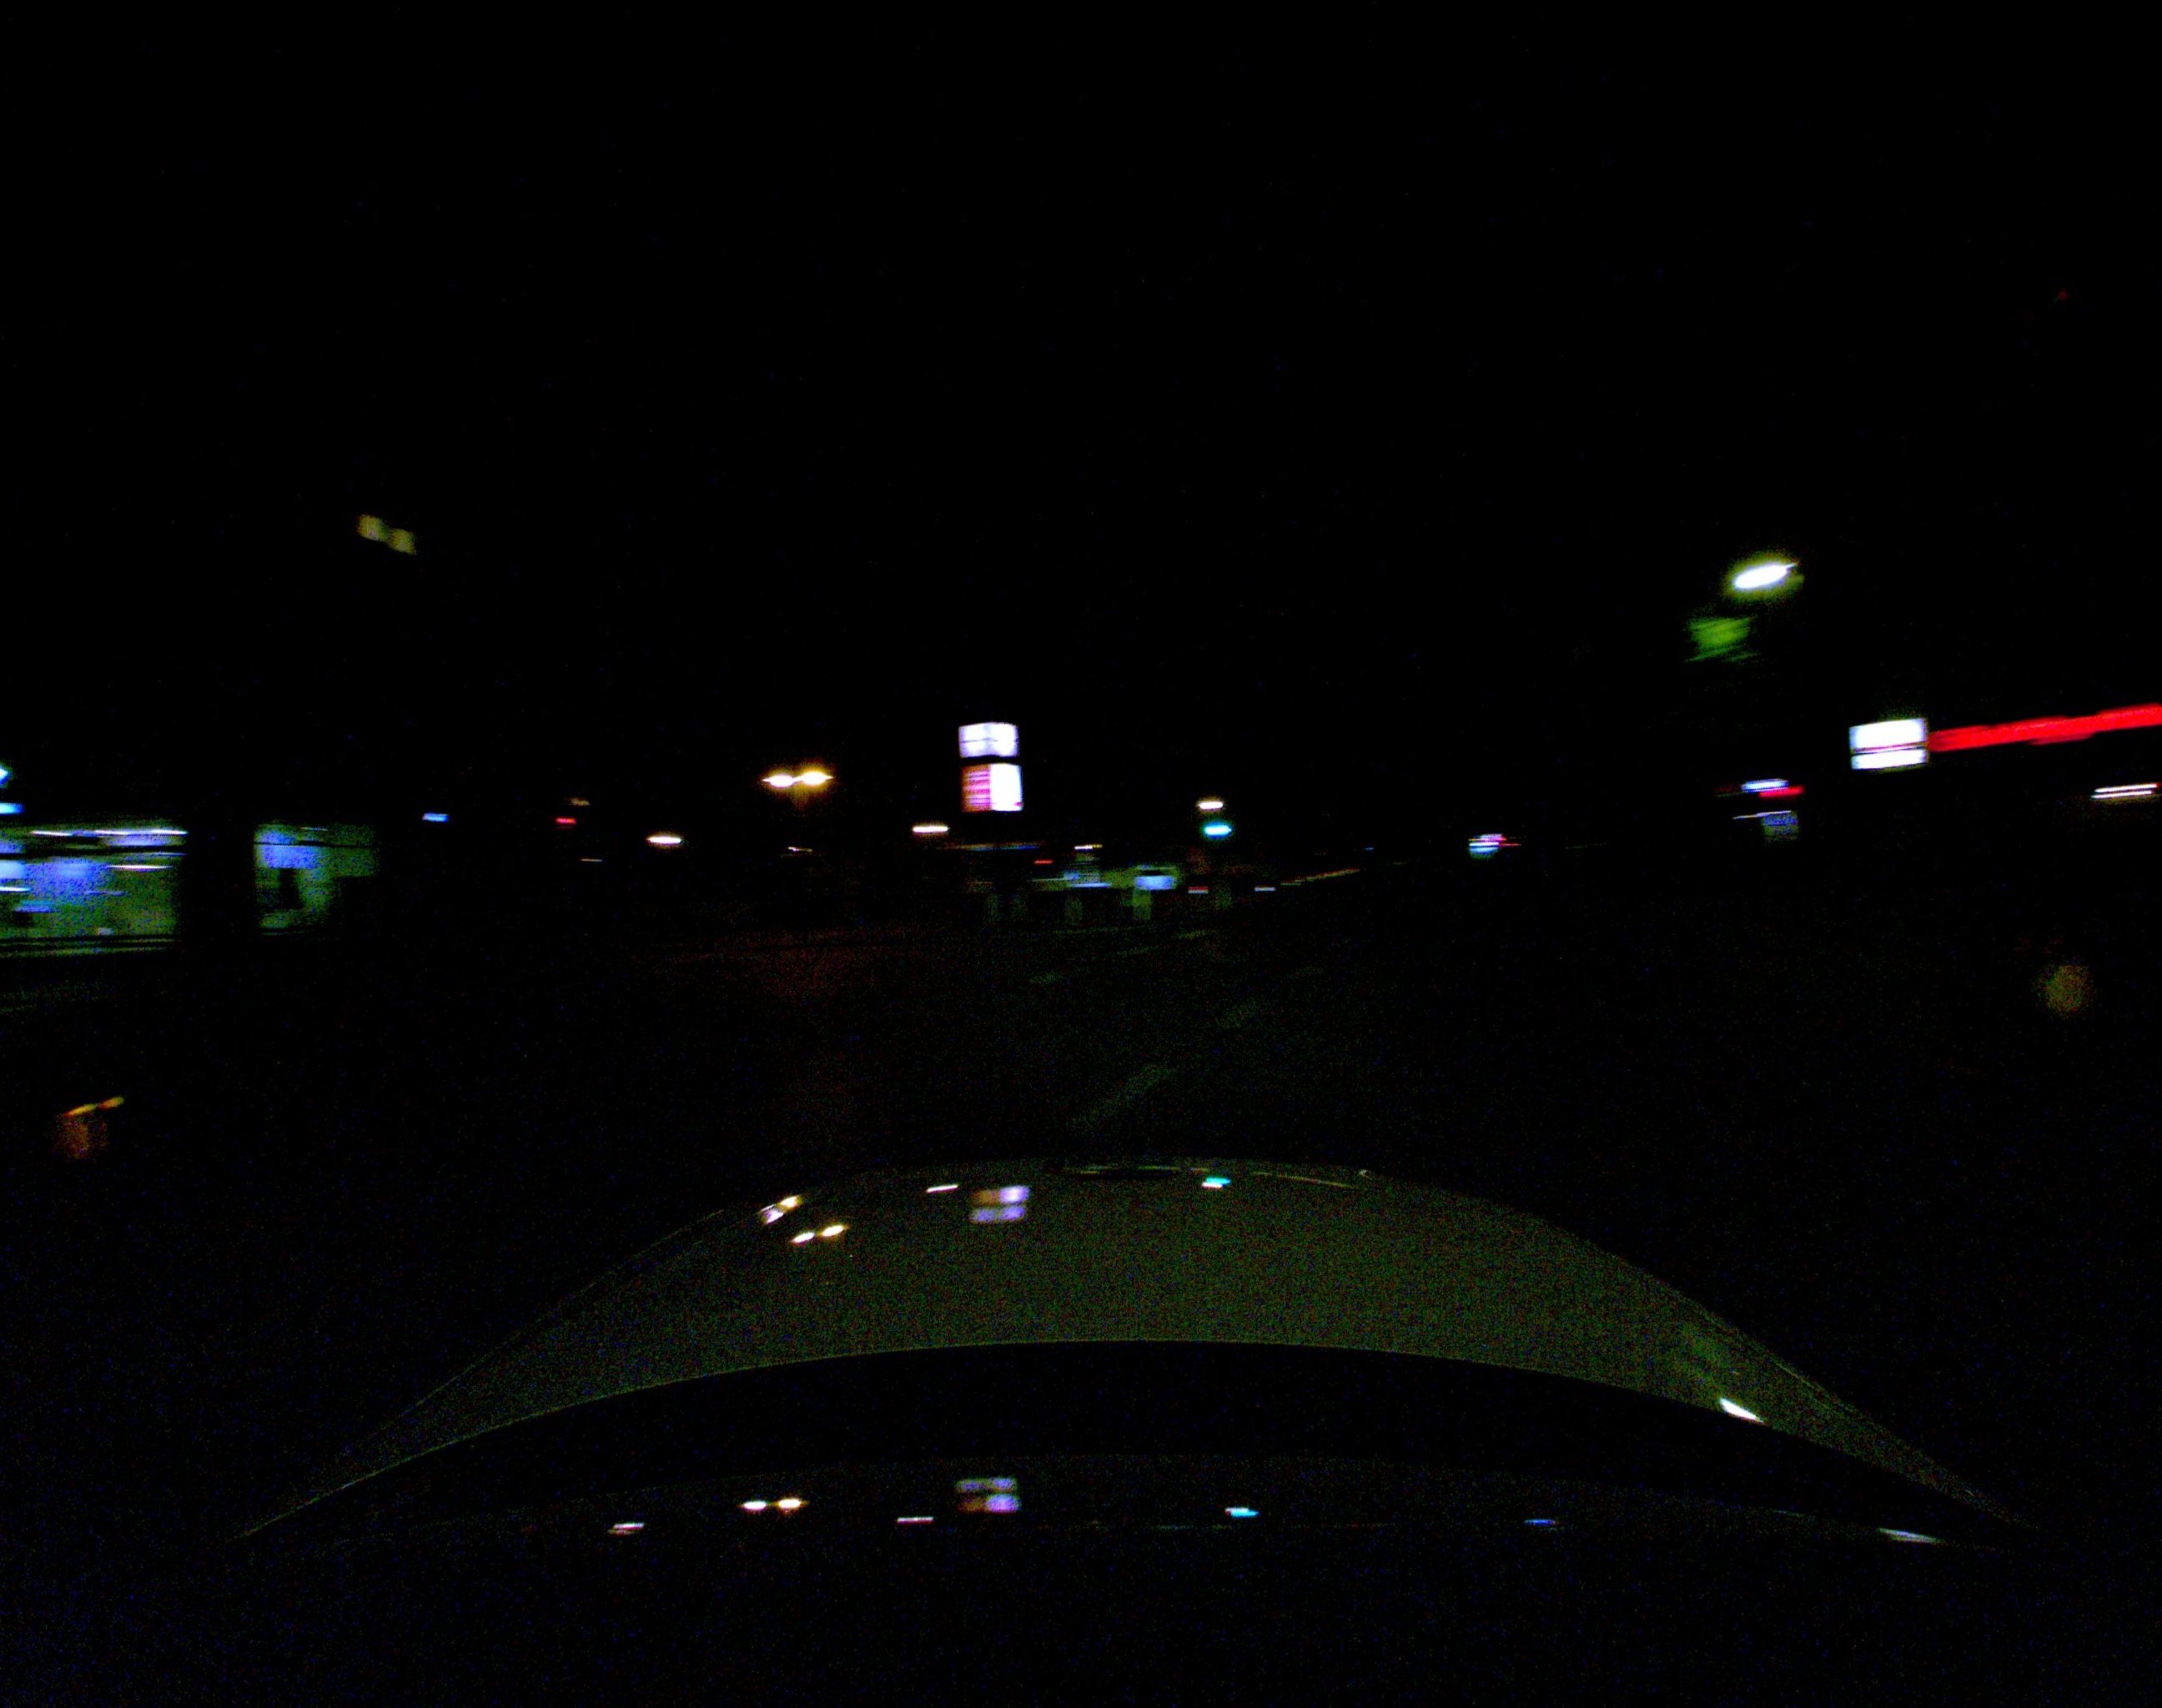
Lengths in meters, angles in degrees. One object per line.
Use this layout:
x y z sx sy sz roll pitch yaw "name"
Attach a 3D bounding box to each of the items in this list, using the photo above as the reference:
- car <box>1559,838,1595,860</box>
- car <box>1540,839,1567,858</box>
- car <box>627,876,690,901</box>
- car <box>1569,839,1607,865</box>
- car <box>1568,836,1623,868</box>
34.150 -0.377 56.121 1.871 1.453 3.919 -1 0 28 "car"
42.007 -0.510 72.363 1.987 1.626 3.920 -1 0 31 "car"
-27.850 2.249 53.811 1.910 1.451 4.003 -1 0 2 "car"
30.688 -0.129 49.399 1.871 1.453 3.920 -1 0 31 "car"
28.213 -0.101 44.802 1.852 1.653 3.884 -1 0 22 "car"
